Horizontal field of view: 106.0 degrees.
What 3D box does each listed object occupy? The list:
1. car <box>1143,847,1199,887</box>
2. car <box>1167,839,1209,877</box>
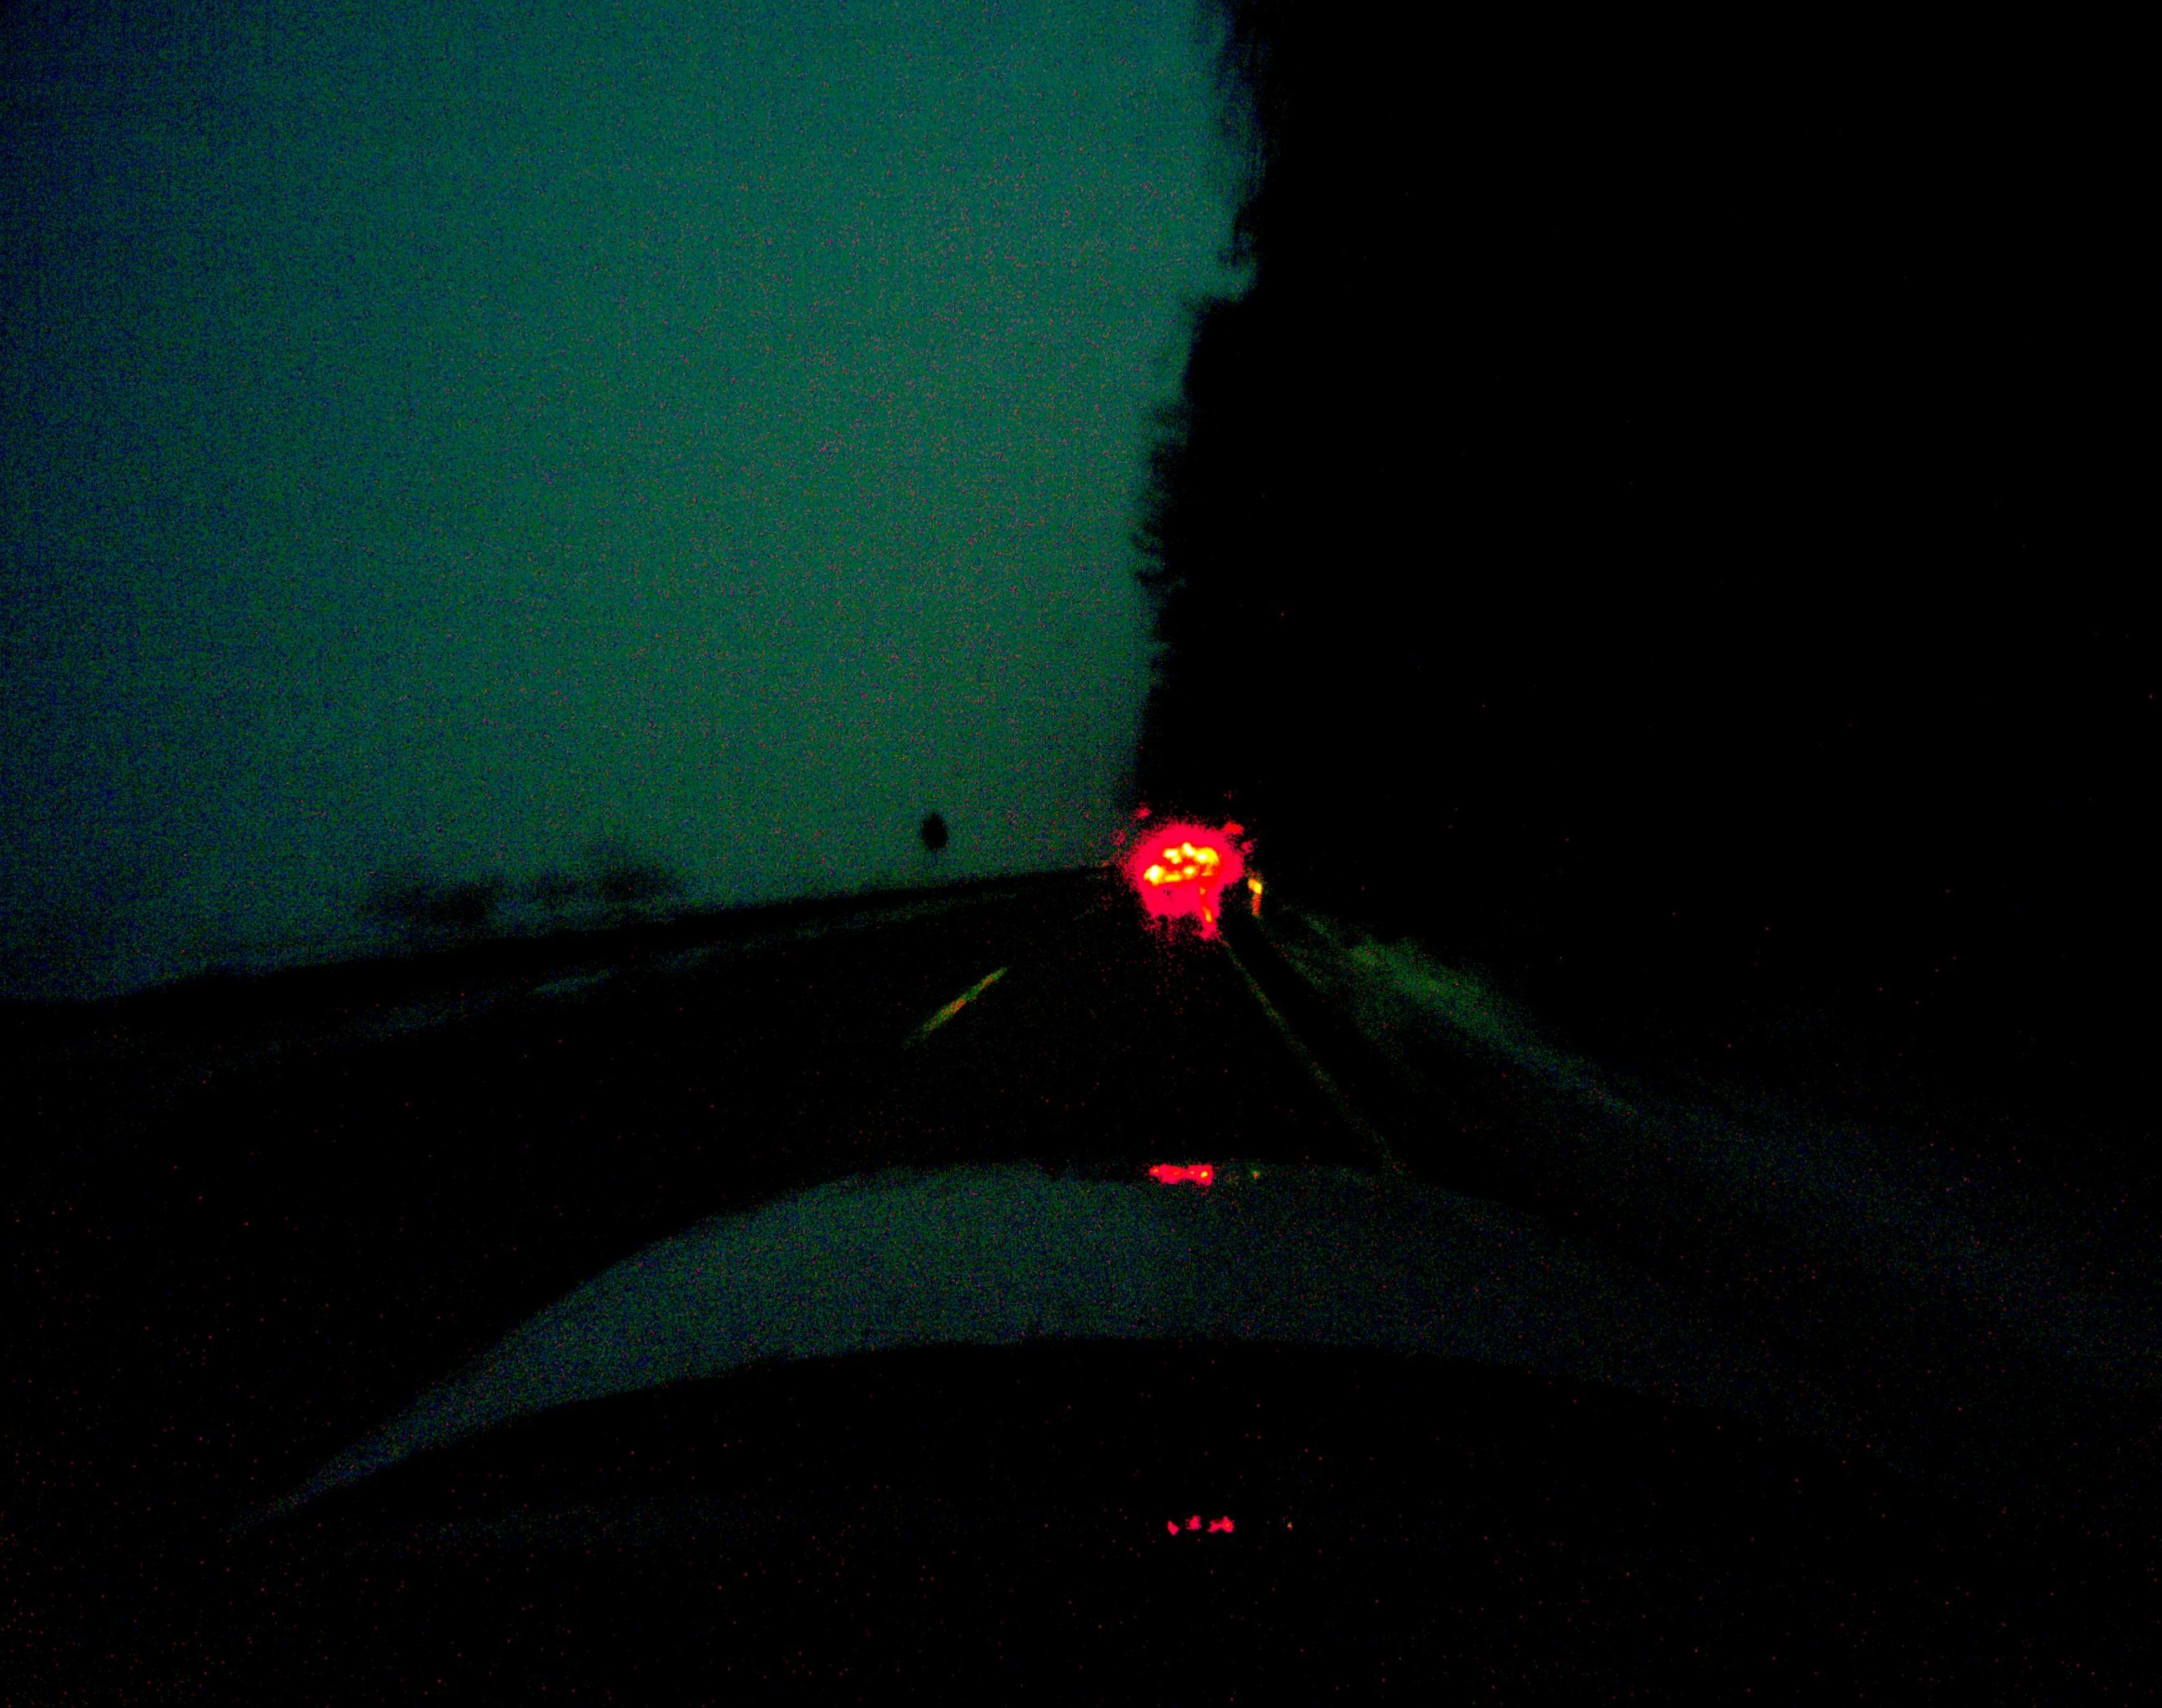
[{"bbox_3d":[3.409,0.467,30.273,1.935,1.381,4.009,-1,0,8],"label":"car"},{"bbox_3d":[5.470,0.178,41.622,1.982,1.783,4.009,-2,0,8],"label":"car"}]
